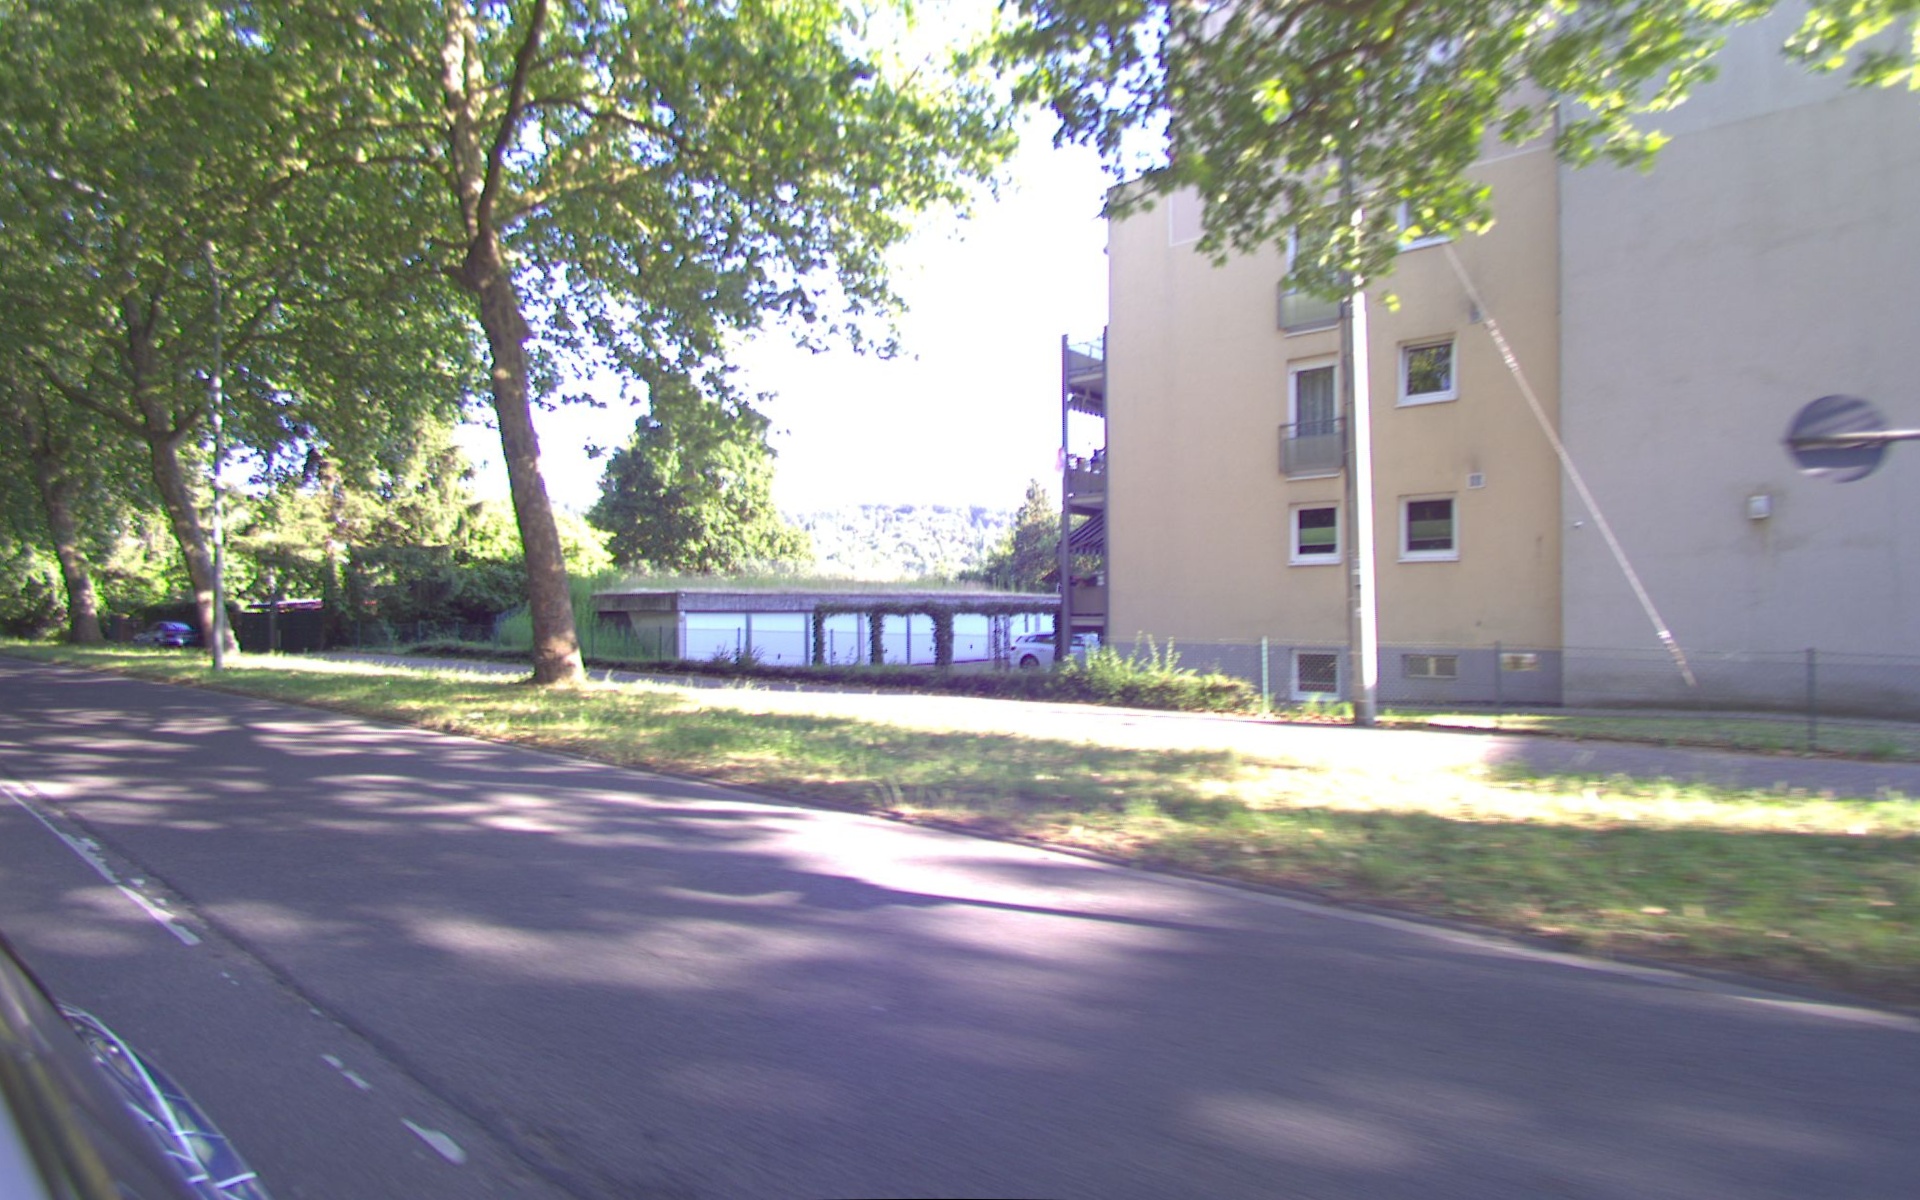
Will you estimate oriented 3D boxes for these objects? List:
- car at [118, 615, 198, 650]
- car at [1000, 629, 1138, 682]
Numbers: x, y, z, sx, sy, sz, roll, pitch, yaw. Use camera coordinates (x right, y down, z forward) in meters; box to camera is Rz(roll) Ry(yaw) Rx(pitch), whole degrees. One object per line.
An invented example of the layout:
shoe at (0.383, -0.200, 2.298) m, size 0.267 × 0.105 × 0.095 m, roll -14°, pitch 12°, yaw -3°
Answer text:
car at (-36.436, 1.449, 45.957) m, size 3.990 × 1.541 × 1.793 m, roll -1°, pitch -1°, yaw 35°
car at (3.486, 1.750, 32.680) m, size 4.111 × 1.558 × 1.865 m, roll -1°, pitch -1°, yaw 38°
